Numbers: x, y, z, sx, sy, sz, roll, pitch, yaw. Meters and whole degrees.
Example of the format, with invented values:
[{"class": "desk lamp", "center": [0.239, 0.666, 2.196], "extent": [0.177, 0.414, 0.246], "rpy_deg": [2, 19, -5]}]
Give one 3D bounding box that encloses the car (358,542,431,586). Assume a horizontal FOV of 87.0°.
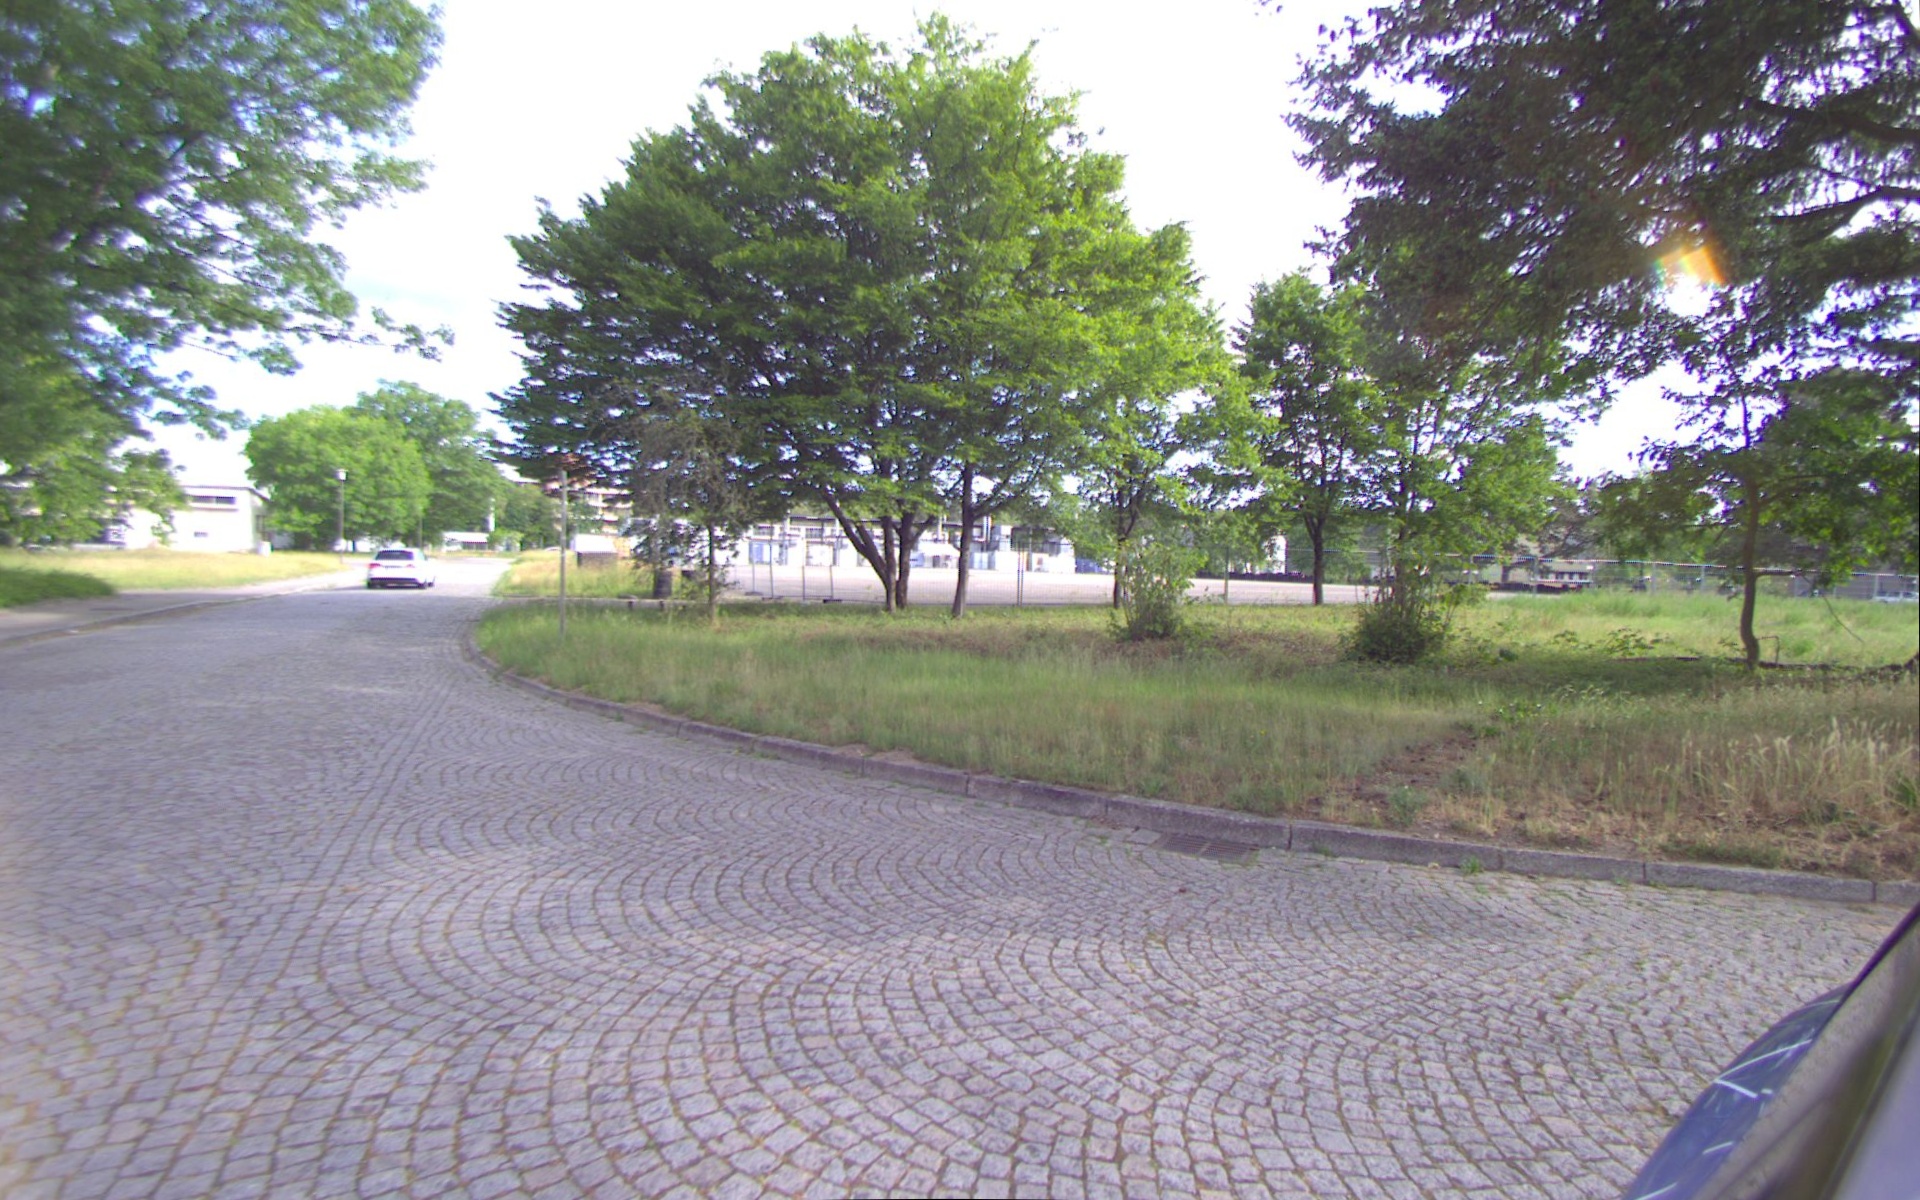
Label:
[{"class": "car", "center": [-19.821, -1.308, 35.650], "extent": [1.816, 1.454, 4.717], "rpy_deg": [0, 3, -24]}]
